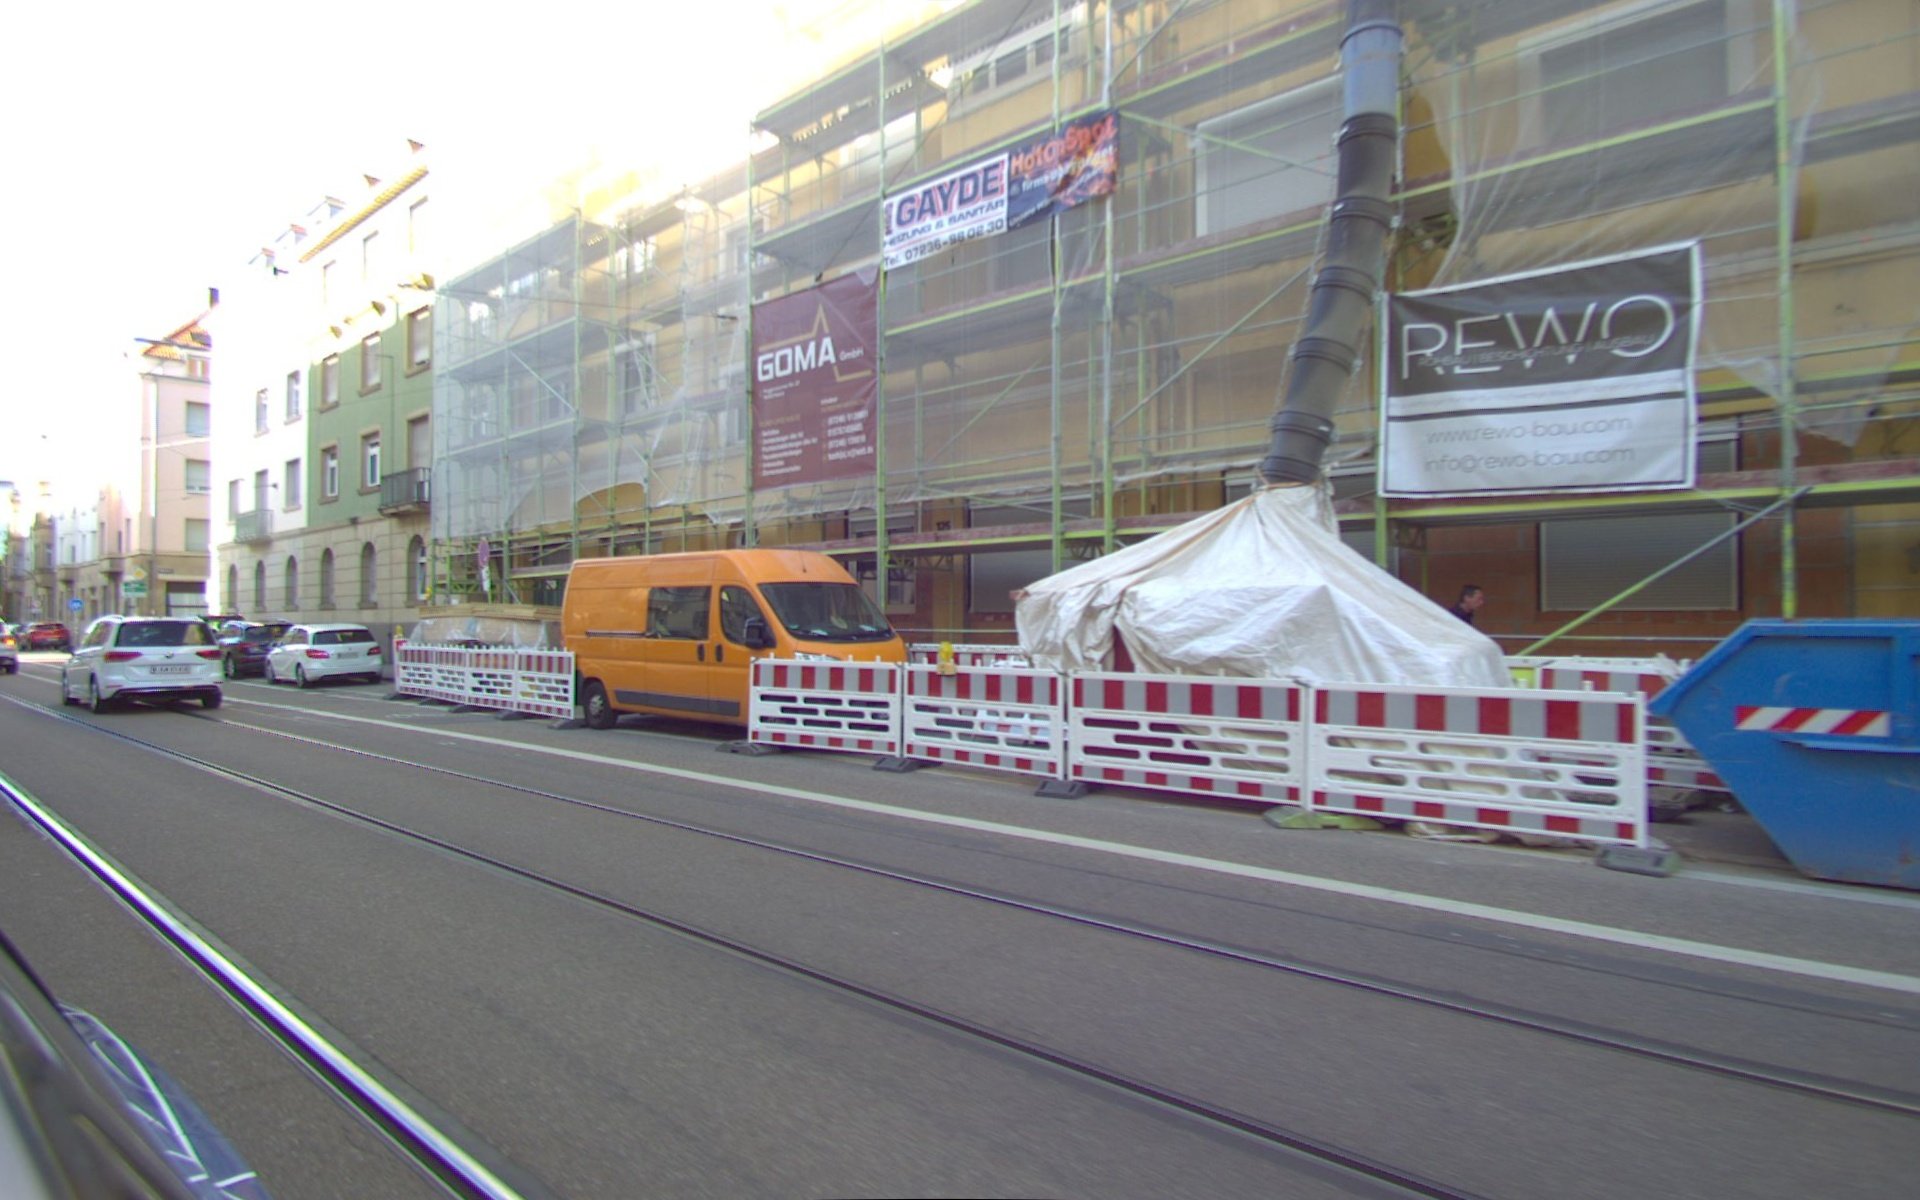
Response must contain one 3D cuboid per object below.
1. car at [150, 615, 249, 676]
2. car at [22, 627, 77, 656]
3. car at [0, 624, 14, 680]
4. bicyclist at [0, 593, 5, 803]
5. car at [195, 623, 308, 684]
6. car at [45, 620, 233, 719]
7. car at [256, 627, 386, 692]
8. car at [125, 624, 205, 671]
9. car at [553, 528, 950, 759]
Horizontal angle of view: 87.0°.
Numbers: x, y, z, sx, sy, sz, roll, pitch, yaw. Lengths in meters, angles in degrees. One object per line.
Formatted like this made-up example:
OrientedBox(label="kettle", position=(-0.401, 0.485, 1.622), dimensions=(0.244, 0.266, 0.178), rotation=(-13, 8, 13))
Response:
OrientedBox(label="car", position=(-25.247, 1.465, 33.564), dimensions=(3.766, 1.860, 1.776), rotation=(-1, 0, 40))
OrientedBox(label="car", position=(-51.718, 2.356, 57.466), dimensions=(3.766, 1.514, 1.776), rotation=(-1, 0, 40))
OrientedBox(label="car", position=(-29.452, 1.513, 29.857), dimensions=(4.290, 1.619, 1.749), rotation=(-1, -2, 41))
OrientedBox(label="bicyclist", position=(-7.752, 0.734, 7.558), dimensions=(0.850, 1.566, 0.832), rotation=(-2, -2, 43))
OrientedBox(label="car", position=(-20.778, 1.507, 29.618), dimensions=(4.220, 1.590, 1.681), rotation=(-1, 0, 40))
OrientedBox(label="car", position=(-14.746, 1.155, 18.103), dimensions=(4.197, 1.580, 1.803), rotation=(-1, -2, 39))
OrientedBox(label="car", position=(-16.250, 1.455, 25.676), dimensions=(3.998, 1.523, 1.728), rotation=(-2, -2, 42))
OrientedBox(label="car", position=(-28.991, 1.685, 36.872), dimensions=(3.770, 1.622, 1.774), rotation=(-2, -2, 44))
OrientedBox(label="car", position=(-3.052, 0.545, 13.683), dimensions=(5.998, 2.488, 2.097), rotation=(-2, -2, 42))
